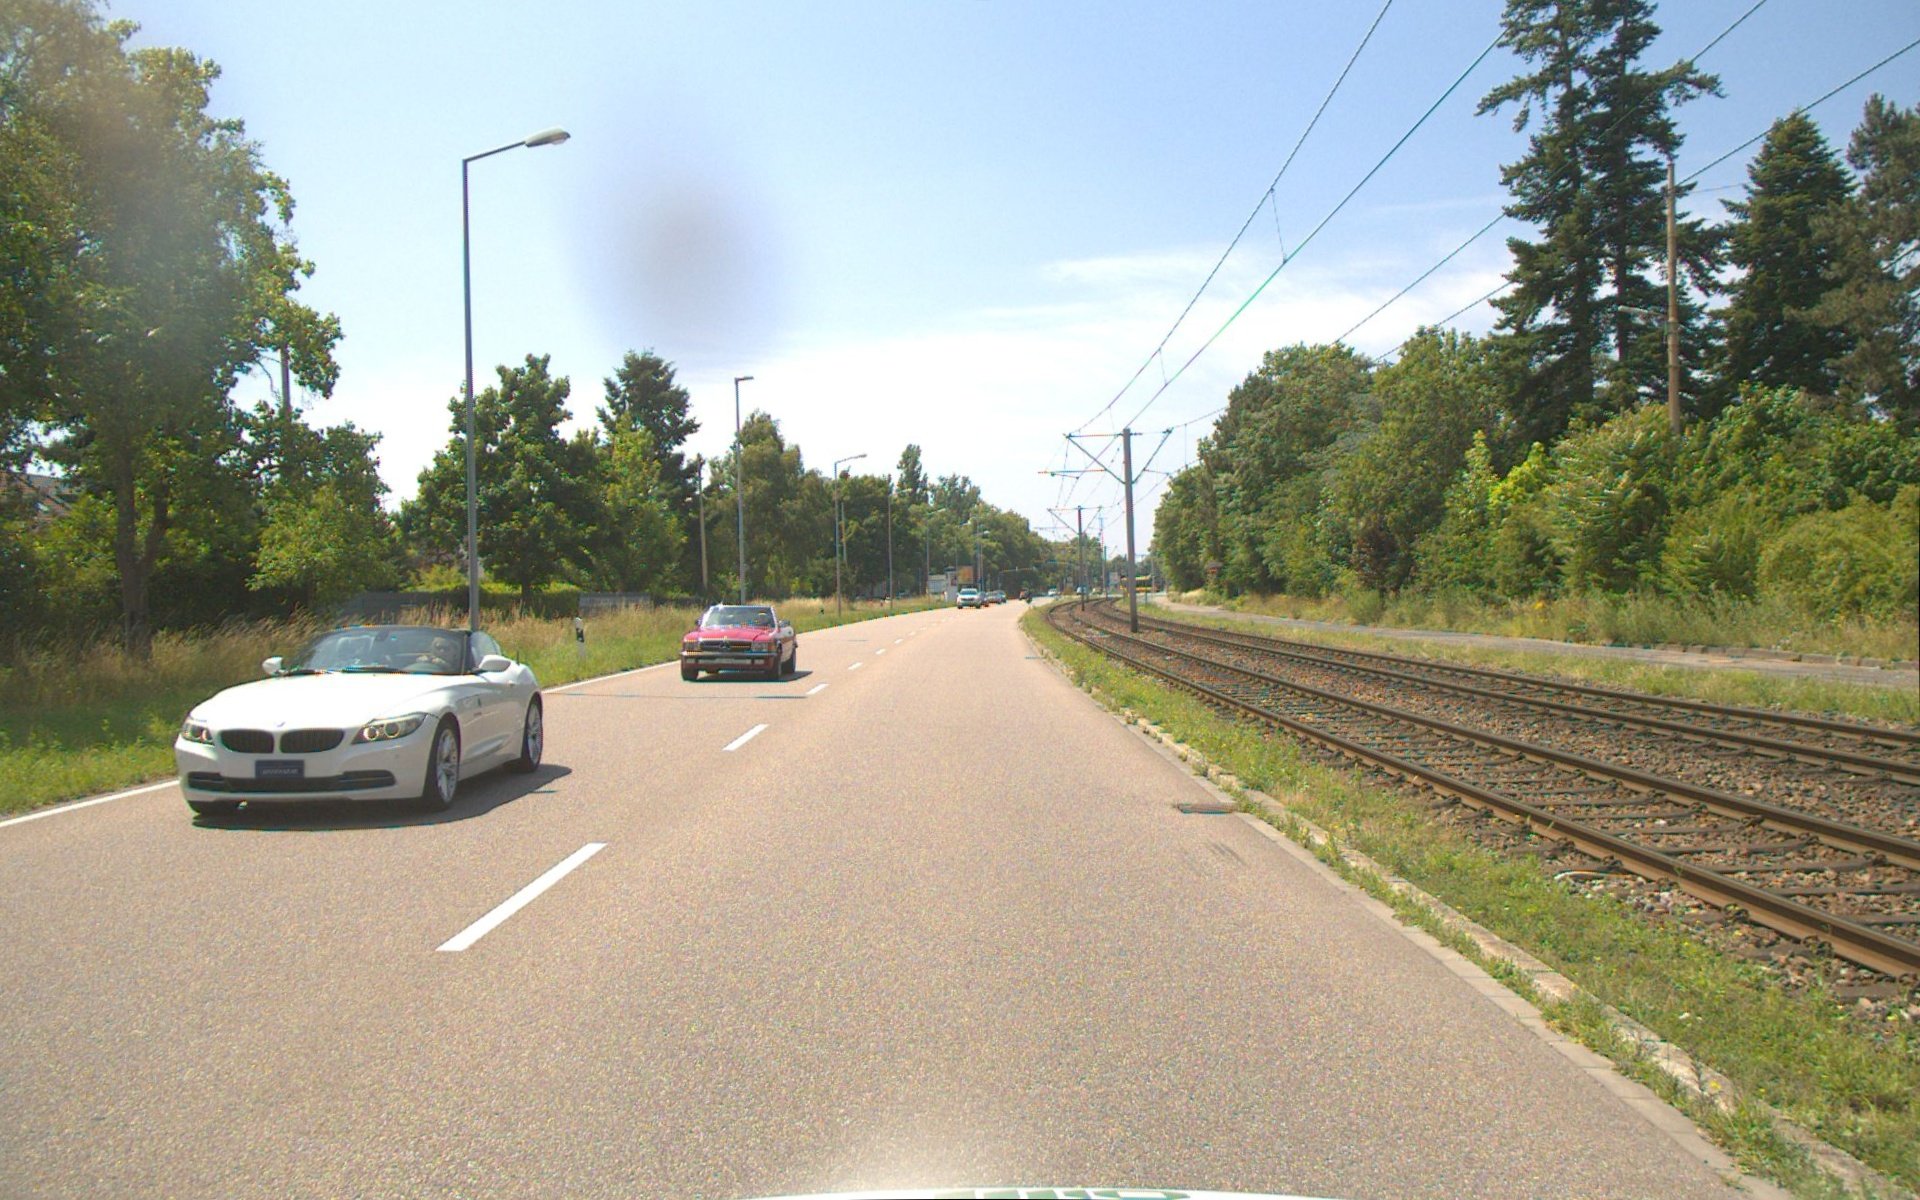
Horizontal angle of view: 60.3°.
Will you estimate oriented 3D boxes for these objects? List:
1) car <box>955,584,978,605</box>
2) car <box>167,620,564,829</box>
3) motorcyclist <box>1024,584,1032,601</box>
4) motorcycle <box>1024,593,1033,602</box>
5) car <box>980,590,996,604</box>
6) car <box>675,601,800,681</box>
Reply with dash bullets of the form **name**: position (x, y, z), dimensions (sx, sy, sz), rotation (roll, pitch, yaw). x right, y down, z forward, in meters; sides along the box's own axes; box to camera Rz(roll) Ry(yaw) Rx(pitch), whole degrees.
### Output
- **car**: position (0.596, -0.455, 146.996), dimensions (1.895, 1.827, 4.713), rotation (-1, 0, 2)
- **car**: position (-4.321, 0.830, 12.680), dimensions (1.648, 1.271, 3.908), rotation (-1, 0, -1)
- **motorcyclist**: position (7.987, -0.870, 193.870), dimensions (0.873, 1.938, 1.016), rotation (-1, 0, 3)
- **motorcycle**: position (8.024, -0.298, 193.802), dimensions (0.950, 1.137, 2.734), rotation (-1, 0, 3)
- **car**: position (3.225, -0.335, 189.057), dimensions (1.780, 1.519, 4.364), rotation (-1, 0, 2)
- **car**: position (-3.996, 0.704, 30.298), dimensions (1.713, 1.324, 4.253), rotation (-1, 0, -1)
